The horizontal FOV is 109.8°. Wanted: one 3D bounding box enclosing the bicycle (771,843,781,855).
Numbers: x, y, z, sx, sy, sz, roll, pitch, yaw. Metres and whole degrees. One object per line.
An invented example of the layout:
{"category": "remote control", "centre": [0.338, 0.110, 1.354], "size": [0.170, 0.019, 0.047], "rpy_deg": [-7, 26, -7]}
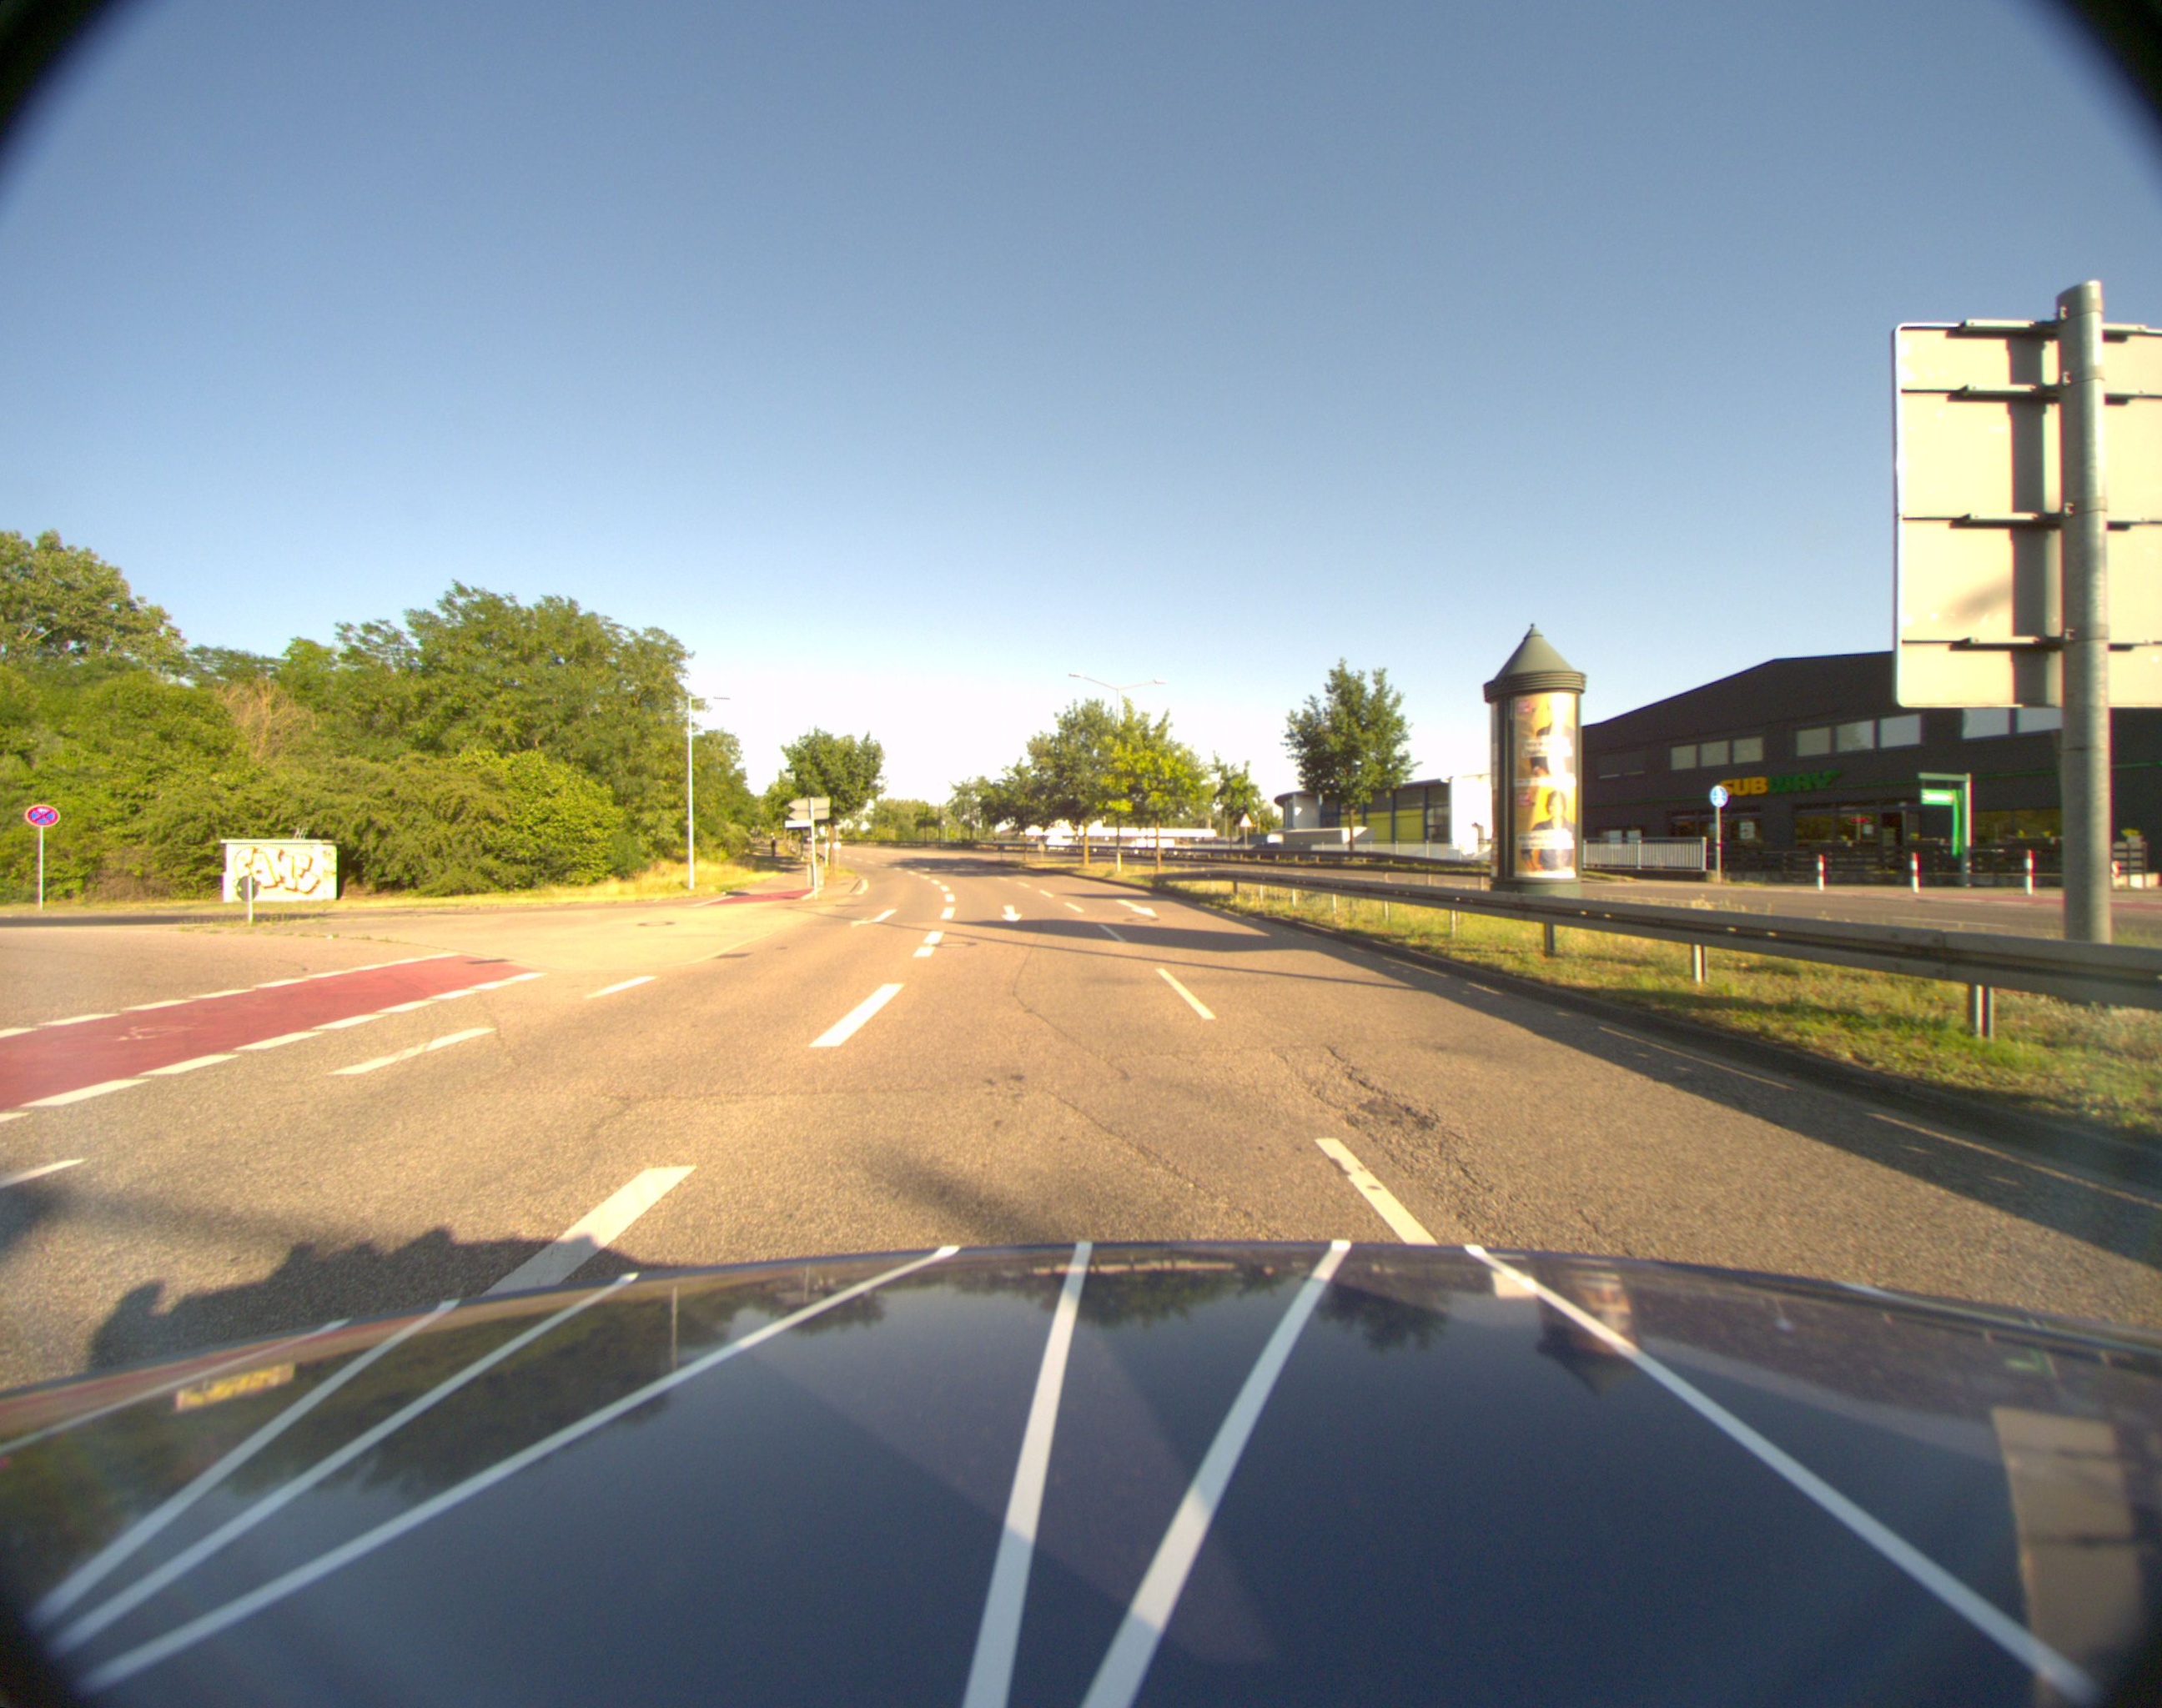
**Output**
{"category": "bicycle", "centre": [-28.342, -0.483, 70.693], "size": [0.783, 1.051, 2.492], "rpy_deg": [-3, 1, -21]}

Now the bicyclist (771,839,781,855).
{"category": "bicyclist", "centre": [-28.427, -0.660, 70.827], "size": [0.844, 1.413, 1.112], "rpy_deg": [-3, 1, -20]}

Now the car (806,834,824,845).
{"category": "car", "centre": [-44.873, -2.484, 128.156], "size": [2.003, 1.762, 3.990], "rpy_deg": [-3, 1, -34]}
